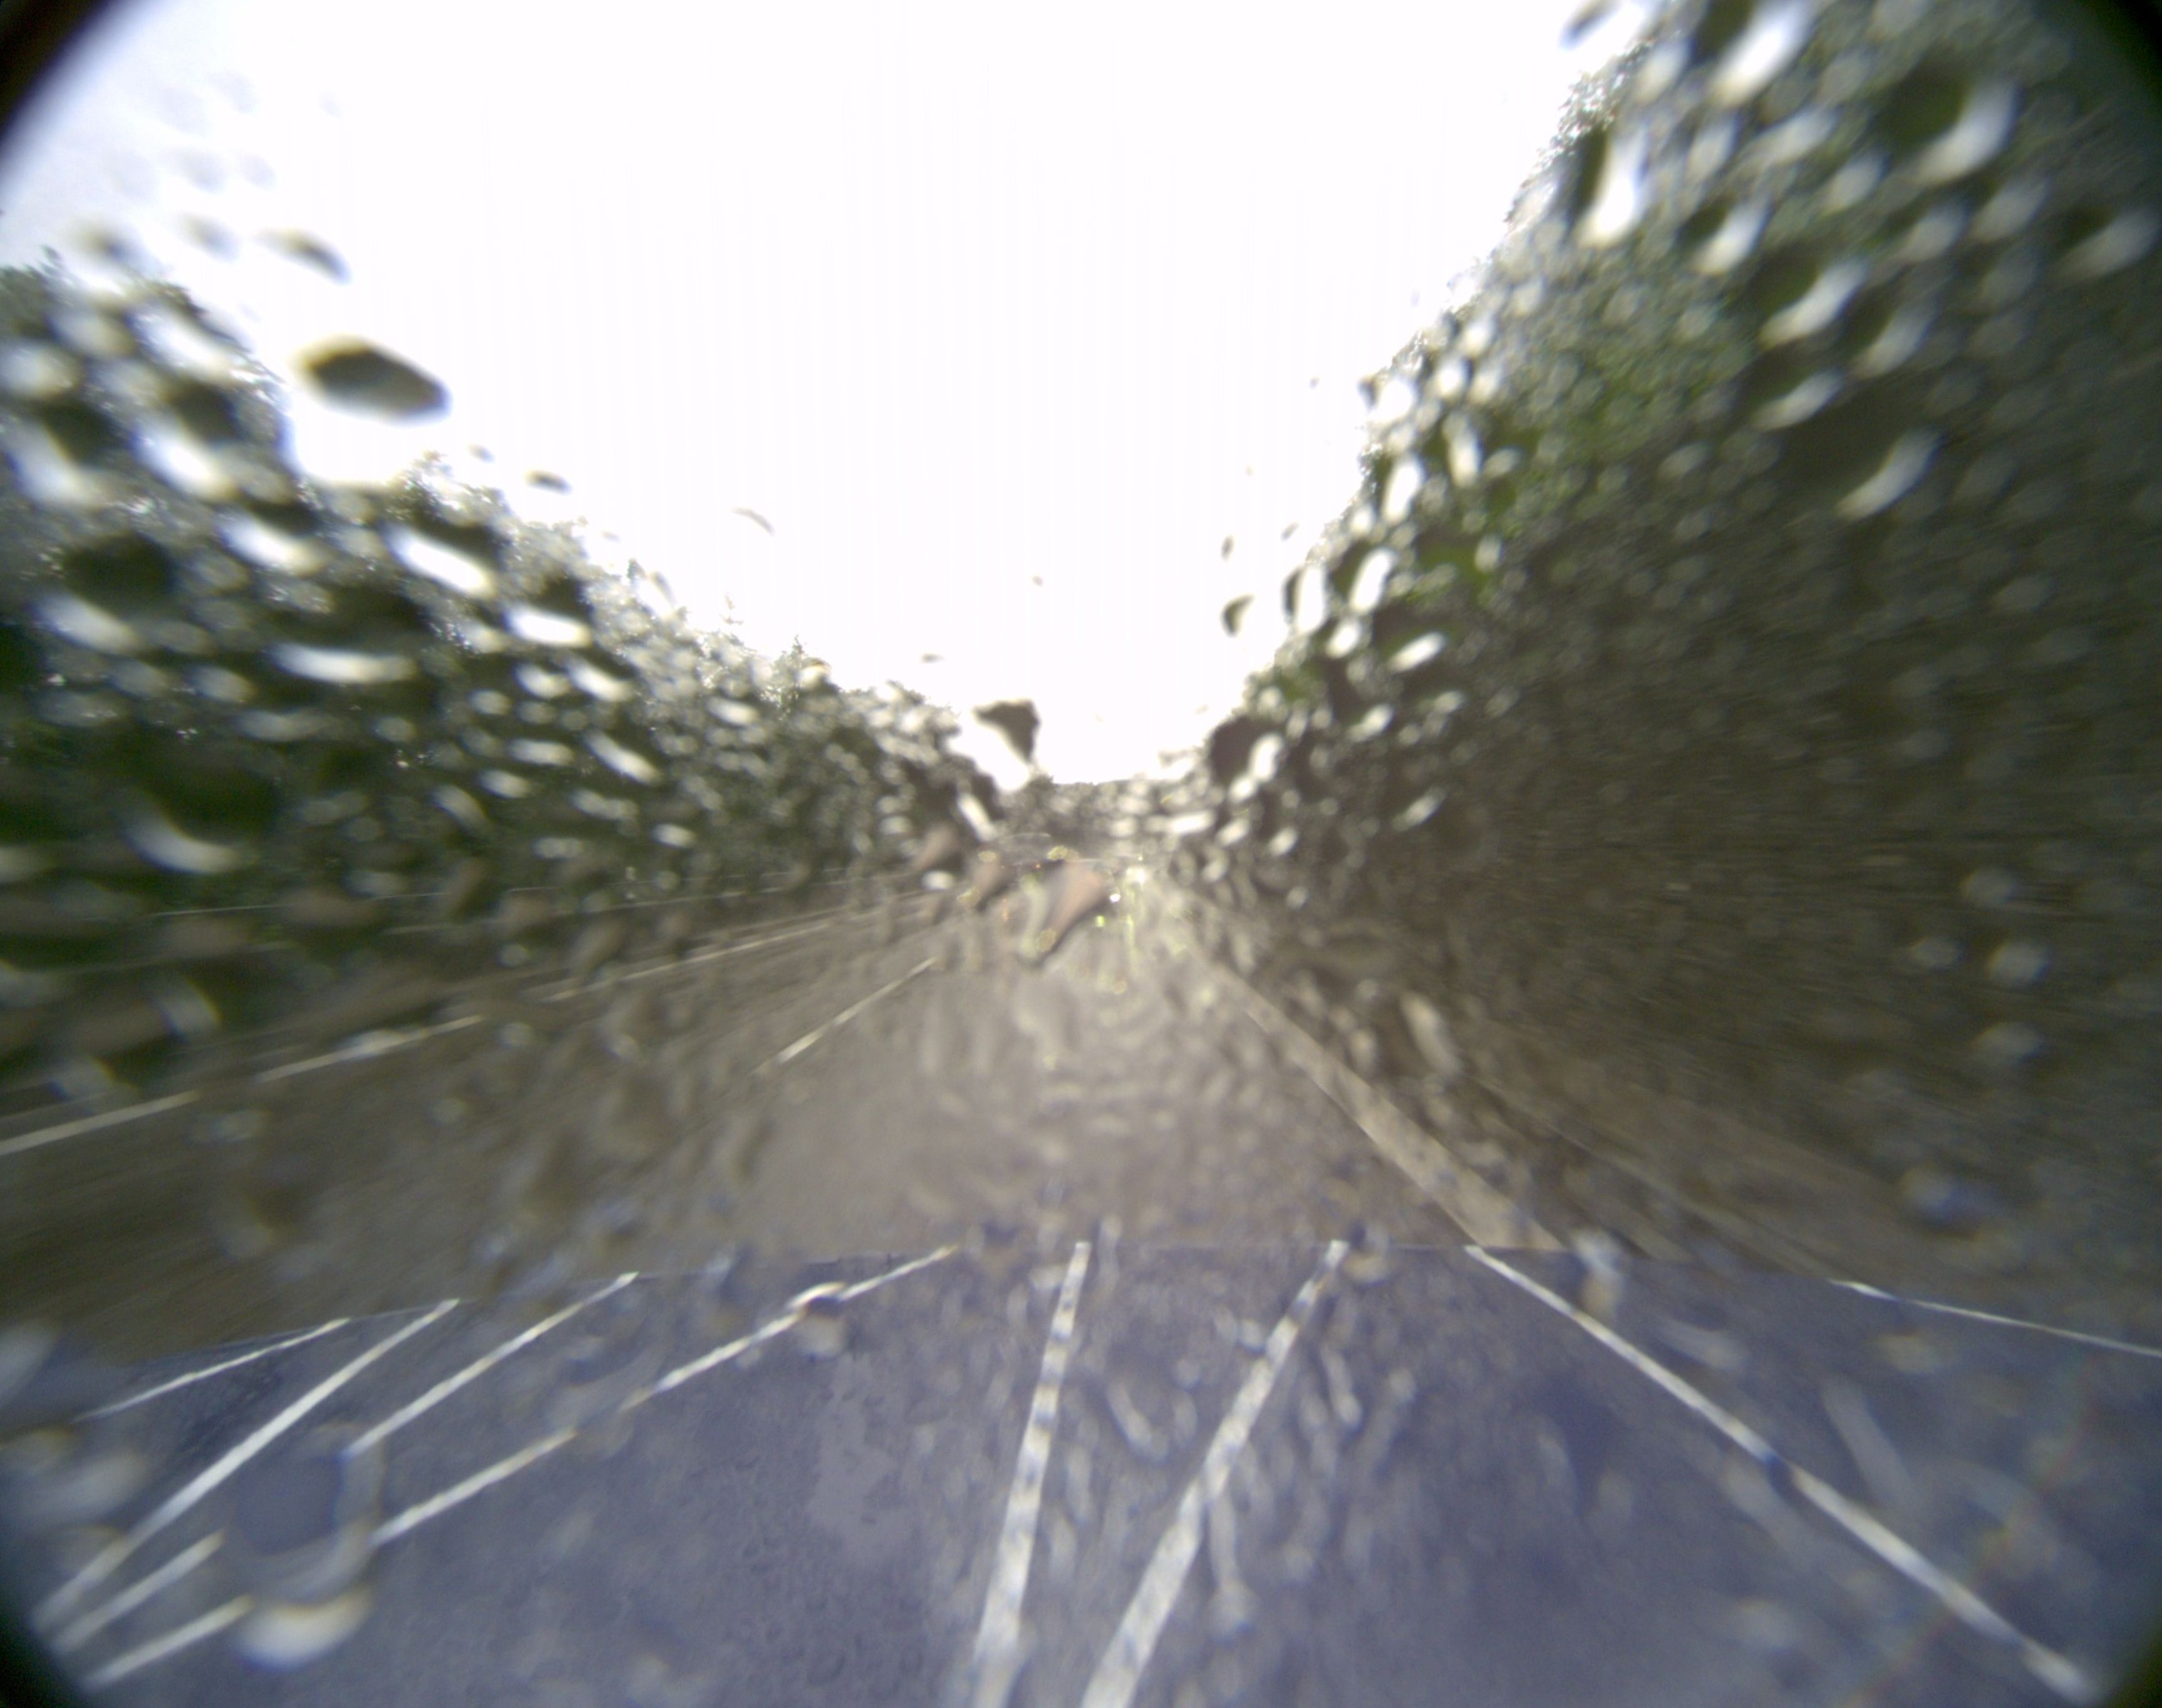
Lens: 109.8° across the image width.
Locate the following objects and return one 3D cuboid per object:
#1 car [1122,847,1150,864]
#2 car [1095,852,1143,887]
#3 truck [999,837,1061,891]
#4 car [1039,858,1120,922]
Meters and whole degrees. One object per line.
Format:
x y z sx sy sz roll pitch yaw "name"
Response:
4.964 0.106 67.780 1.825 1.375 4.003 -3 0 13 "car"
1.827 0.685 35.282 1.826 1.375 4.002 -3 0 7 "car"
-2.459 0.431 38.918 2.108 2.481 8.004 -1 0 4 "truck"
-0.037 0.860 19.805 1.827 1.375 3.999 -2 0 0 "car"
